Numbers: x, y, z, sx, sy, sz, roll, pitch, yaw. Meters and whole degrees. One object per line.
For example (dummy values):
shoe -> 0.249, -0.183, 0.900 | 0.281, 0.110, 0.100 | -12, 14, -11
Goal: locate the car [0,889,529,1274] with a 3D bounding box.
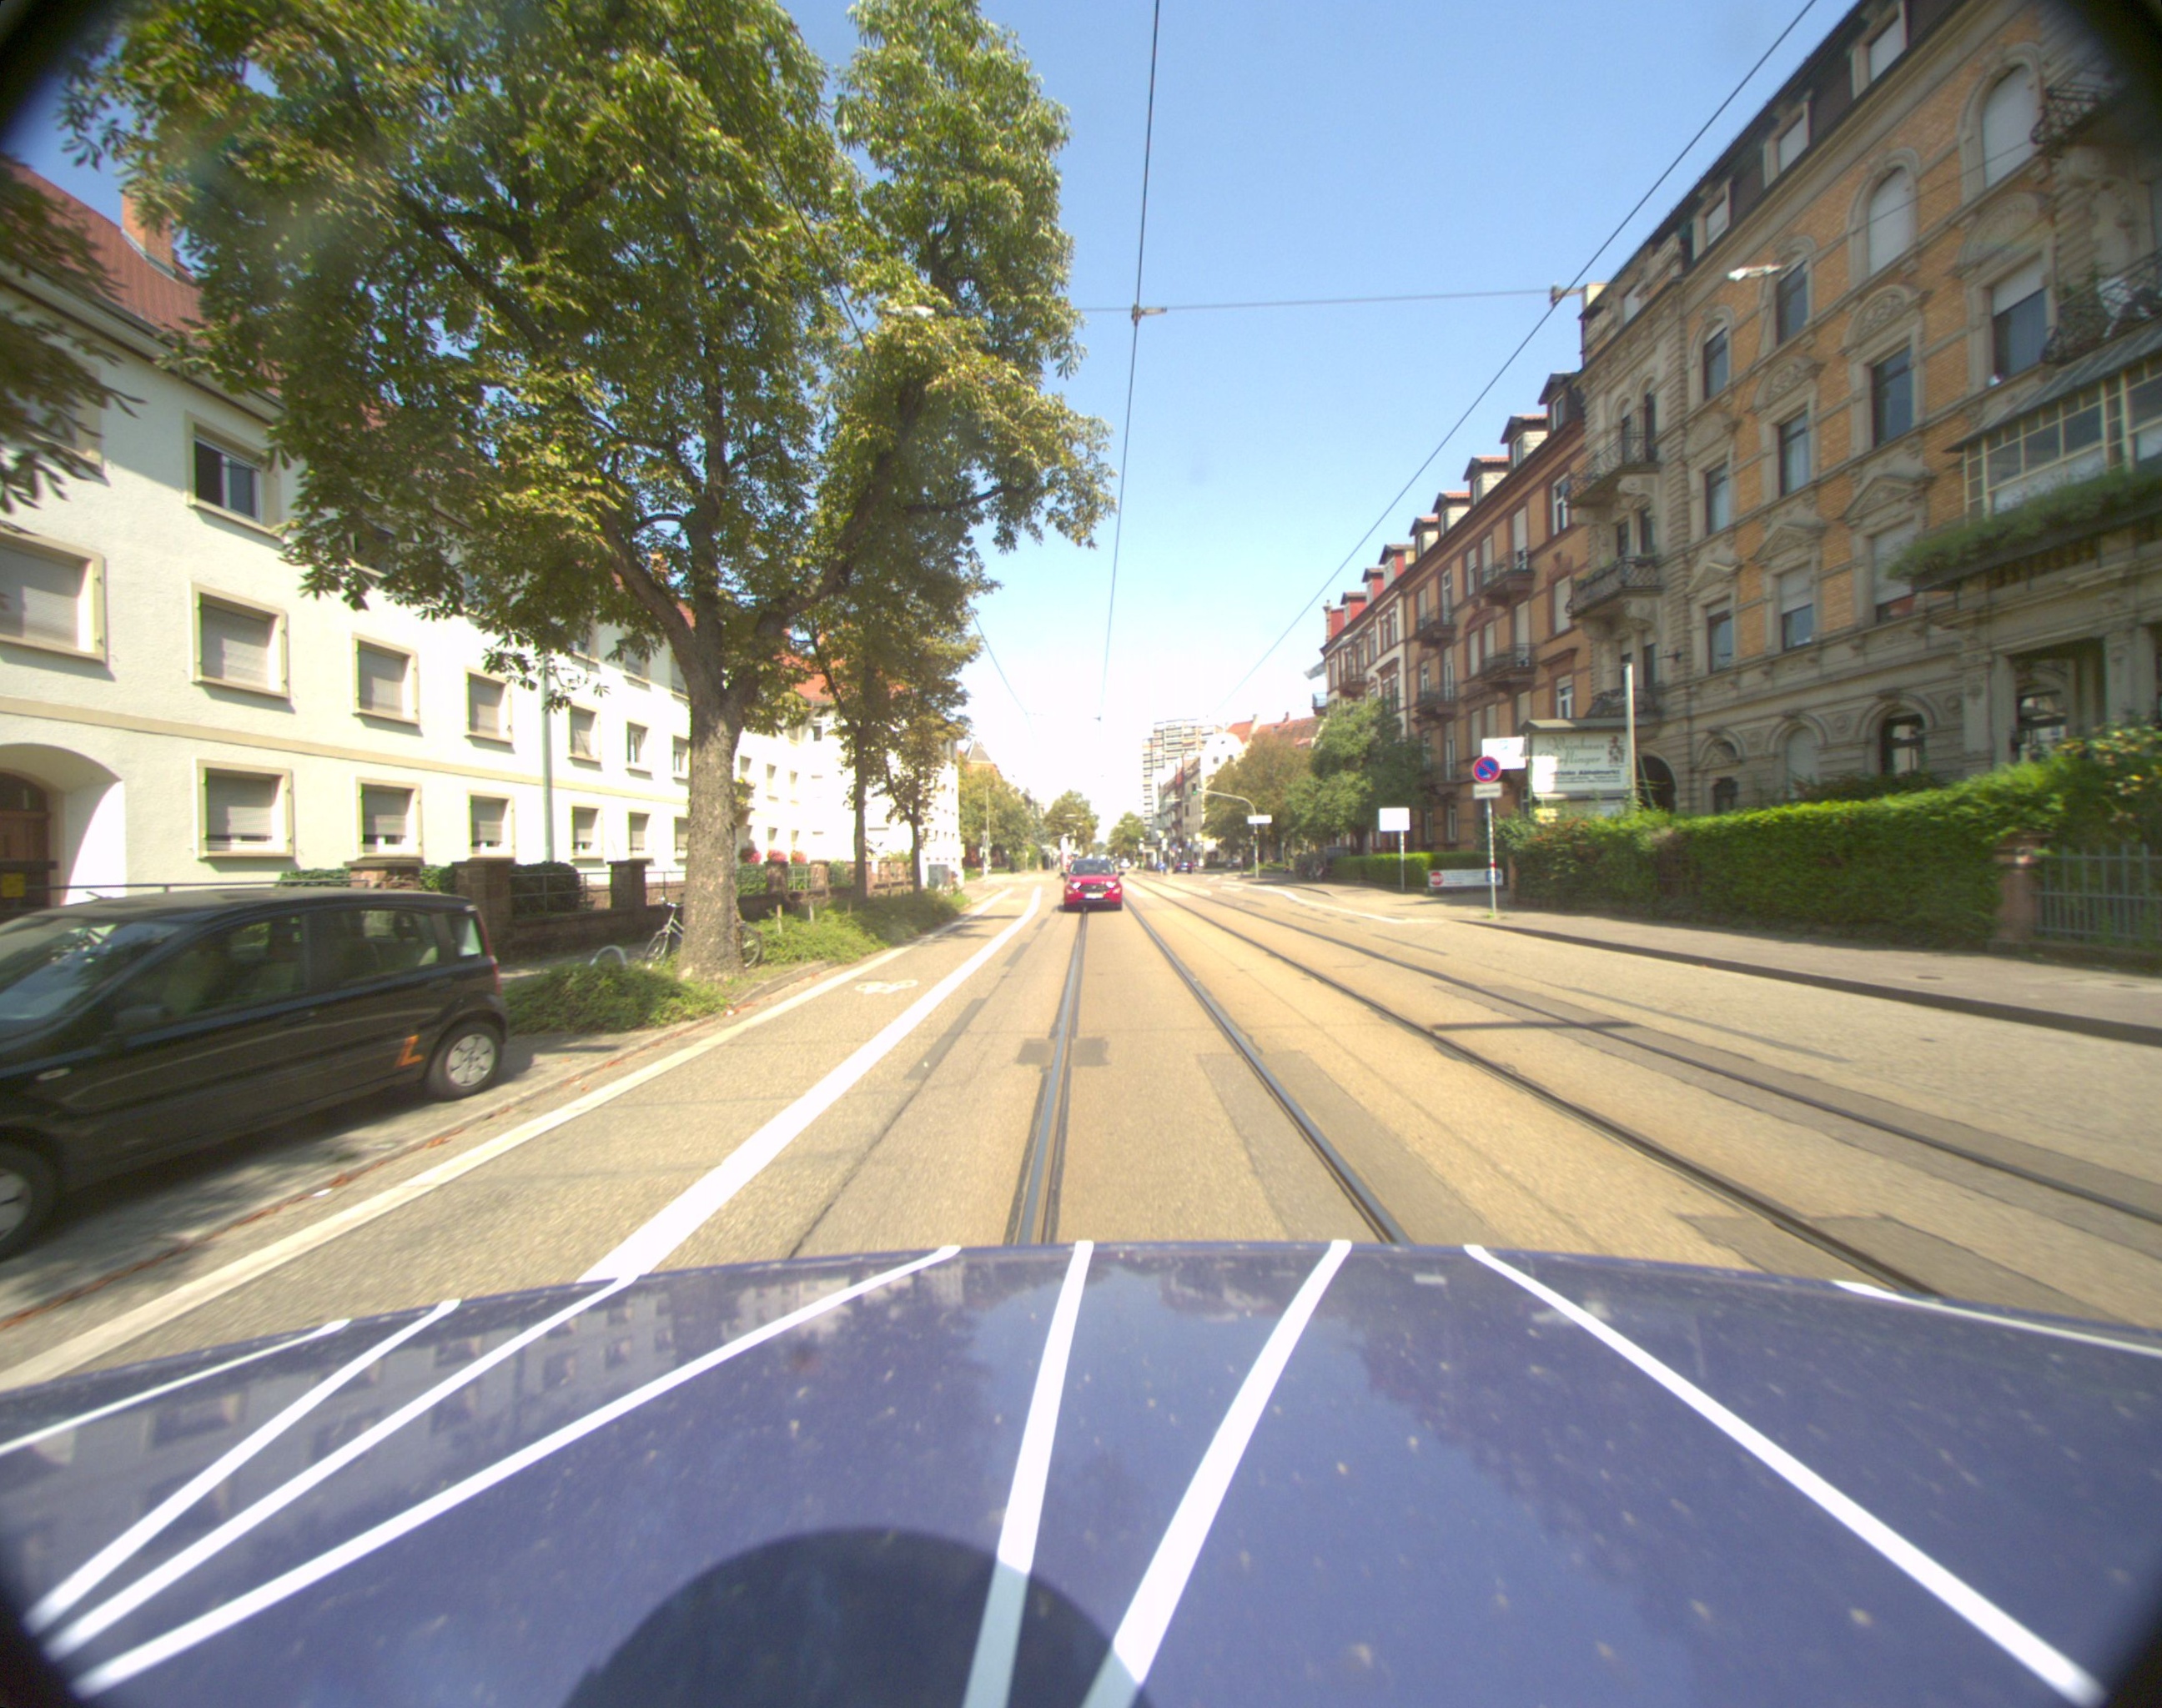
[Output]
car -> -5.304, 1.038, 4.219 | 1.620, 1.521, 3.501 | 0, 0, 8

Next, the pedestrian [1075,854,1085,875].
pedestrian -> -0.121, 0.927, 68.608 | 0.676, 1.874, 0.922 | -2, 0, -14

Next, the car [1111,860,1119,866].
car -> 8.810, 2.322, 195.711 | 1.998, 1.716, 4.631 | -1, 0, 2

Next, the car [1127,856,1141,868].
car -> 7.698, 1.218, 111.065 | 1.998, 1.716, 4.632 | -1, 0, 3

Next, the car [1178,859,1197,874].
car -> 10.964, 1.265, 78.341 | 1.730, 1.425, 4.178 | -2, 0, 5

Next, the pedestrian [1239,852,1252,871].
pedestrian -> 17.998, 0.806, 82.964 | 1.094, 2.002, 1.036 | -3, 1, 1

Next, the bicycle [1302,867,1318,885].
bicycle -> 12.767, 1.214, 42.381 | 0.488, 0.936, 1.657 | -2, 0, 4

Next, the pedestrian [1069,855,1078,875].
pedestrian -> -0.744, 1.092, 74.852 | 0.674, 1.874, 0.924 | -1, 0, 12

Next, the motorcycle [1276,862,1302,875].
motorcycle -> 17.662, 1.217, 64.486 | 2.159, 1.025, 0.692 | -2, 0, -23

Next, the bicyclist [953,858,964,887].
bicyclist -> -6.470, 0.954, 40.051 | 0.438, 1.503, 0.472 | -1, 1, 3

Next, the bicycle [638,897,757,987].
bicycle -> -5.276, 1.186, 10.491 | 1.395, 1.102, 0.388 | -2, 0, -34

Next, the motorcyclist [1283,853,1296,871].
motorcyclist -> 17.669, 0.698, 64.505 | 0.773, 1.502, 0.690 | -2, 0, -23

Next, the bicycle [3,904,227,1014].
bicycle -> -11.528, 1.209, 9.168 | 0.469, 1.087, 1.717 | -1, 0, 0

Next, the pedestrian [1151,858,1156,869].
pedestrian -> 8.085, 1.086, 84.979 | 0.479, 1.243, 0.648 | -2, 0, 2

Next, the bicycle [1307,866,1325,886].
bicycle -> 12.568, 1.175, 40.668 | 0.488, 0.980, 1.657 | -2, 0, 4

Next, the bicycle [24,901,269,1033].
bicycle -> -9.900, 1.137, 8.161 | 0.469, 1.153, 1.717 | -1, 0, 0

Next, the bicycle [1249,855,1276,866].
bicycle -> 23.646, 0.842, 99.060 | 1.225, 1.428, 3.477 | -1, 0, -32

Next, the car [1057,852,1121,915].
car -> 0.268, 0.850, 24.136 | 1.803, 1.801, 4.416 | -1, 0, 1

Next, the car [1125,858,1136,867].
car -> 9.019, 1.564, 139.587 | 1.998, 1.716, 4.632 | -1, 0, 3

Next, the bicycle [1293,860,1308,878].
bicycle -> 13.072, 0.894, 45.258 | 0.488, 1.015, 1.778 | -2, 0, 4

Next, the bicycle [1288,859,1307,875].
bicycle -> 14.051, 0.831, 49.312 | 0.487, 0.991, 1.834 | -2, 0, 39

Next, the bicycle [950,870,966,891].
bicycle -> -6.457, 1.391, 40.096 | 0.441, 1.041, 1.829 | -1, 0, 3

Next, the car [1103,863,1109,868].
car -> 8.274, 3.791, 254.511 | 1.998, 1.716, 4.631 | -1, 0, 2

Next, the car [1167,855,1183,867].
car -> 14.377, 1.029, 116.554 | 1.998, 1.716, 4.631 | -1, 0, 2
